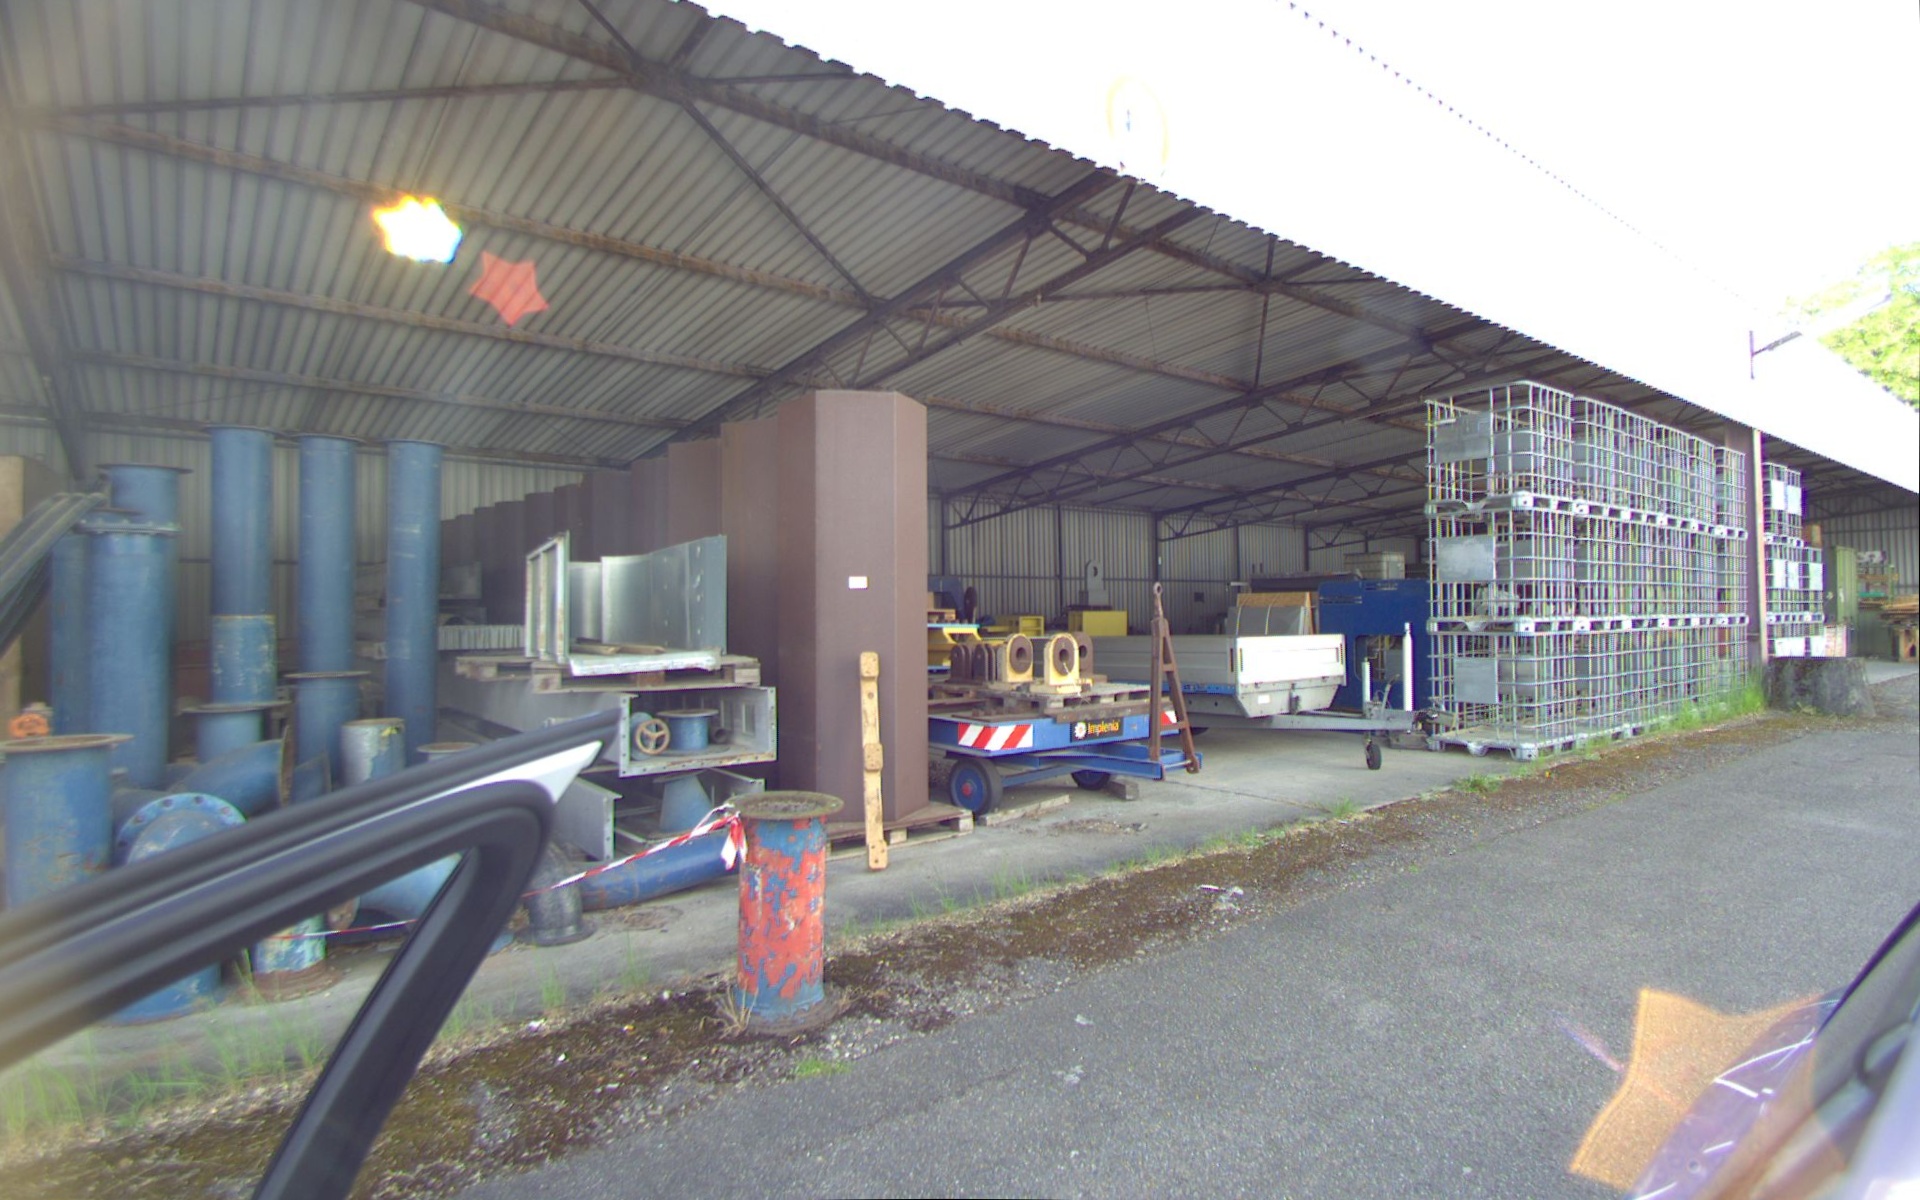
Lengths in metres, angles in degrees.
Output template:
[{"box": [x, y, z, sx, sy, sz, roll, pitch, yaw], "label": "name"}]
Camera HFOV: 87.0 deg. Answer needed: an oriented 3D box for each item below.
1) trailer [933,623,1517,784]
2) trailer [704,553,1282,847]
[{"box": [2.284, 0.846, 10.509, 1.993, 1.134, 5.834, 0, -1, -39], "label": "trailer"}, {"box": [-0.093, 0.580, 8.217, 1.993, 1.649, 4.877, 0, -1, -39], "label": "trailer"}]
